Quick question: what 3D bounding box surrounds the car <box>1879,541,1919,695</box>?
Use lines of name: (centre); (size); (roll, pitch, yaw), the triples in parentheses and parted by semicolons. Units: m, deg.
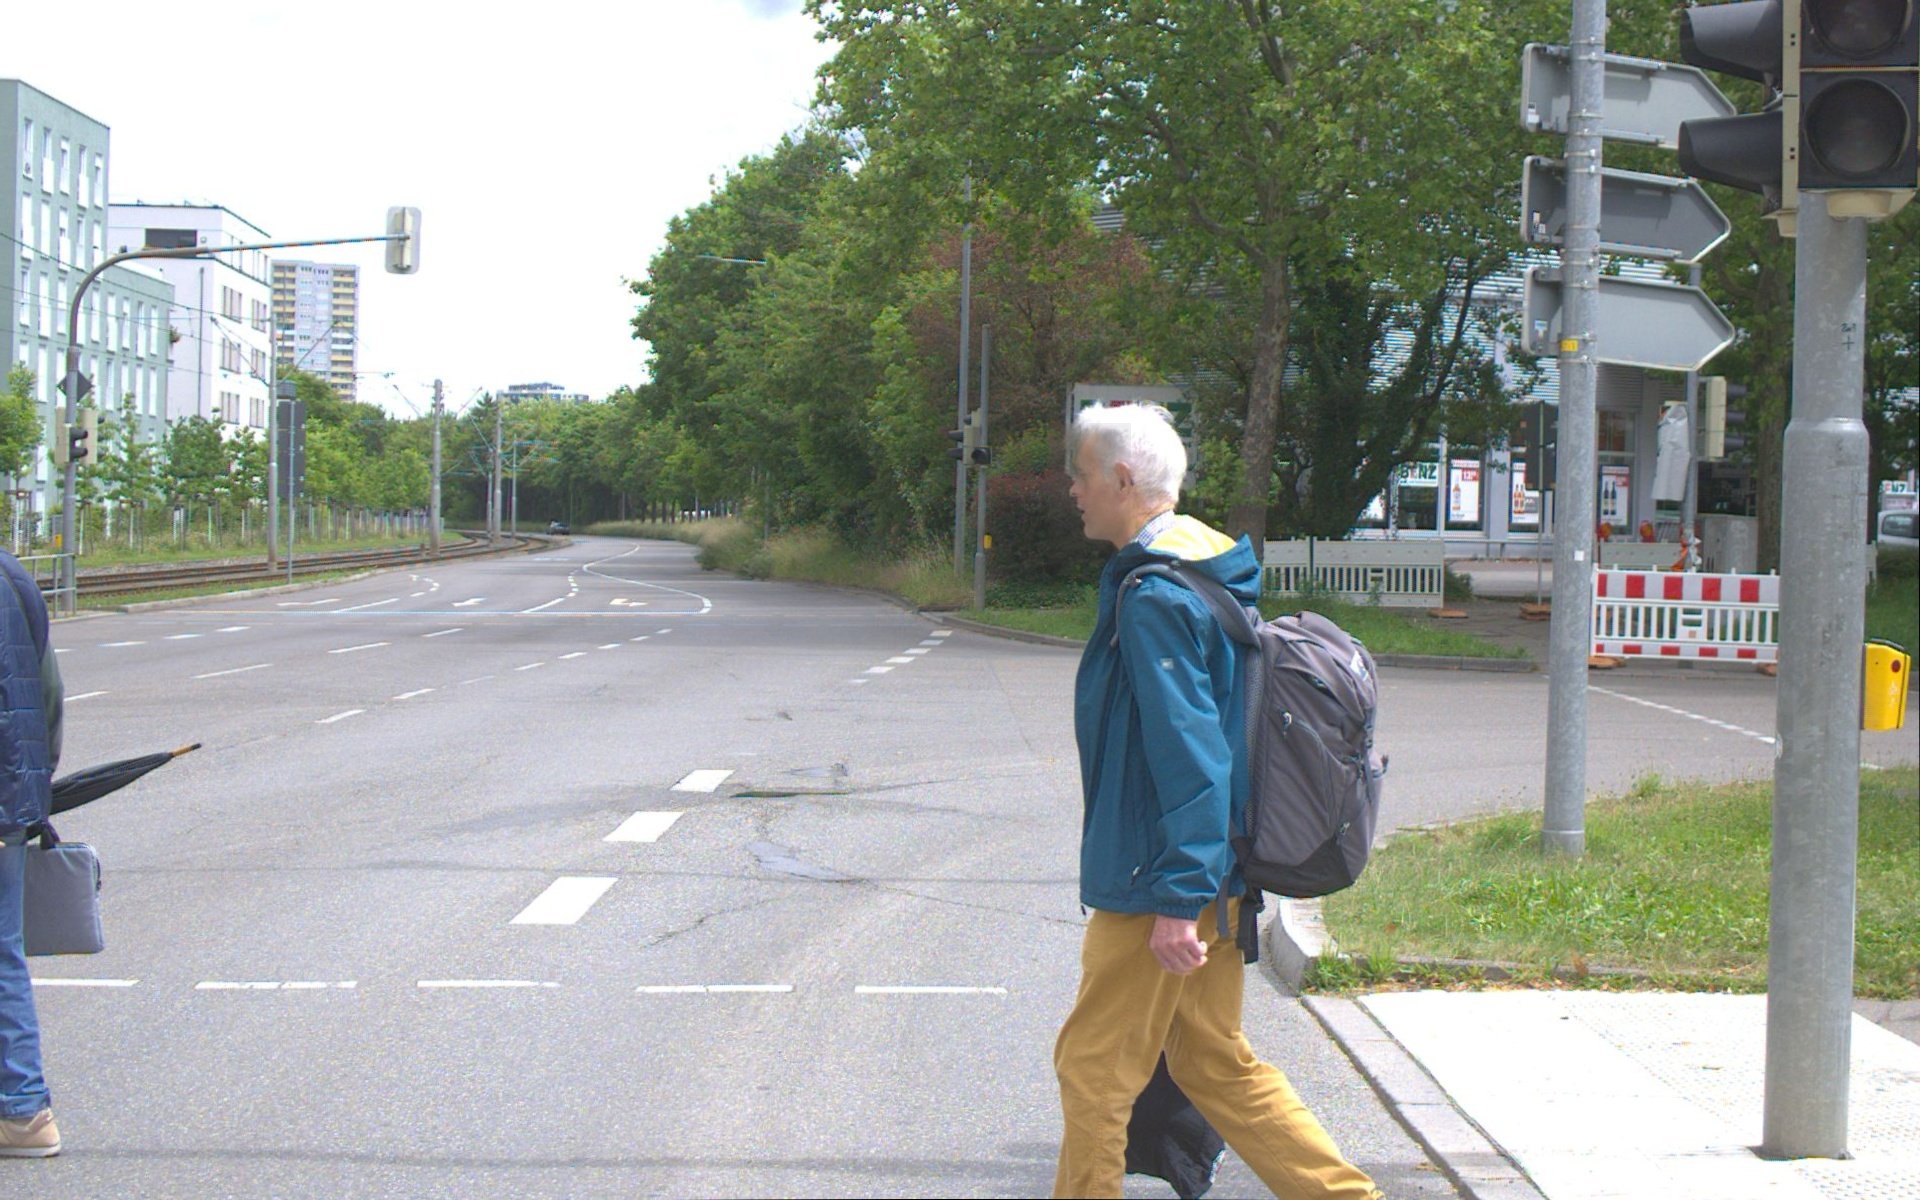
car: (11.539, 0.189, 33.732); (4.476, 1.481, 1.989); (1, 1, -1)

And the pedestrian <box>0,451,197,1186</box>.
pedestrian: (-2.328, 0.472, 8.032); (0.868, 1.629, 0.765); (1, 1, 5)

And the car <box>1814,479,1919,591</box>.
car: (17.740, -1.182, 62.567); (1.993, 2.007, 4.000); (0, 2, -32)

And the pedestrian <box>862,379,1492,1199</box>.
pedestrian: (0.438, 0.488, 6.497); (1.010, 1.768, 0.948); (1, 1, 15)
